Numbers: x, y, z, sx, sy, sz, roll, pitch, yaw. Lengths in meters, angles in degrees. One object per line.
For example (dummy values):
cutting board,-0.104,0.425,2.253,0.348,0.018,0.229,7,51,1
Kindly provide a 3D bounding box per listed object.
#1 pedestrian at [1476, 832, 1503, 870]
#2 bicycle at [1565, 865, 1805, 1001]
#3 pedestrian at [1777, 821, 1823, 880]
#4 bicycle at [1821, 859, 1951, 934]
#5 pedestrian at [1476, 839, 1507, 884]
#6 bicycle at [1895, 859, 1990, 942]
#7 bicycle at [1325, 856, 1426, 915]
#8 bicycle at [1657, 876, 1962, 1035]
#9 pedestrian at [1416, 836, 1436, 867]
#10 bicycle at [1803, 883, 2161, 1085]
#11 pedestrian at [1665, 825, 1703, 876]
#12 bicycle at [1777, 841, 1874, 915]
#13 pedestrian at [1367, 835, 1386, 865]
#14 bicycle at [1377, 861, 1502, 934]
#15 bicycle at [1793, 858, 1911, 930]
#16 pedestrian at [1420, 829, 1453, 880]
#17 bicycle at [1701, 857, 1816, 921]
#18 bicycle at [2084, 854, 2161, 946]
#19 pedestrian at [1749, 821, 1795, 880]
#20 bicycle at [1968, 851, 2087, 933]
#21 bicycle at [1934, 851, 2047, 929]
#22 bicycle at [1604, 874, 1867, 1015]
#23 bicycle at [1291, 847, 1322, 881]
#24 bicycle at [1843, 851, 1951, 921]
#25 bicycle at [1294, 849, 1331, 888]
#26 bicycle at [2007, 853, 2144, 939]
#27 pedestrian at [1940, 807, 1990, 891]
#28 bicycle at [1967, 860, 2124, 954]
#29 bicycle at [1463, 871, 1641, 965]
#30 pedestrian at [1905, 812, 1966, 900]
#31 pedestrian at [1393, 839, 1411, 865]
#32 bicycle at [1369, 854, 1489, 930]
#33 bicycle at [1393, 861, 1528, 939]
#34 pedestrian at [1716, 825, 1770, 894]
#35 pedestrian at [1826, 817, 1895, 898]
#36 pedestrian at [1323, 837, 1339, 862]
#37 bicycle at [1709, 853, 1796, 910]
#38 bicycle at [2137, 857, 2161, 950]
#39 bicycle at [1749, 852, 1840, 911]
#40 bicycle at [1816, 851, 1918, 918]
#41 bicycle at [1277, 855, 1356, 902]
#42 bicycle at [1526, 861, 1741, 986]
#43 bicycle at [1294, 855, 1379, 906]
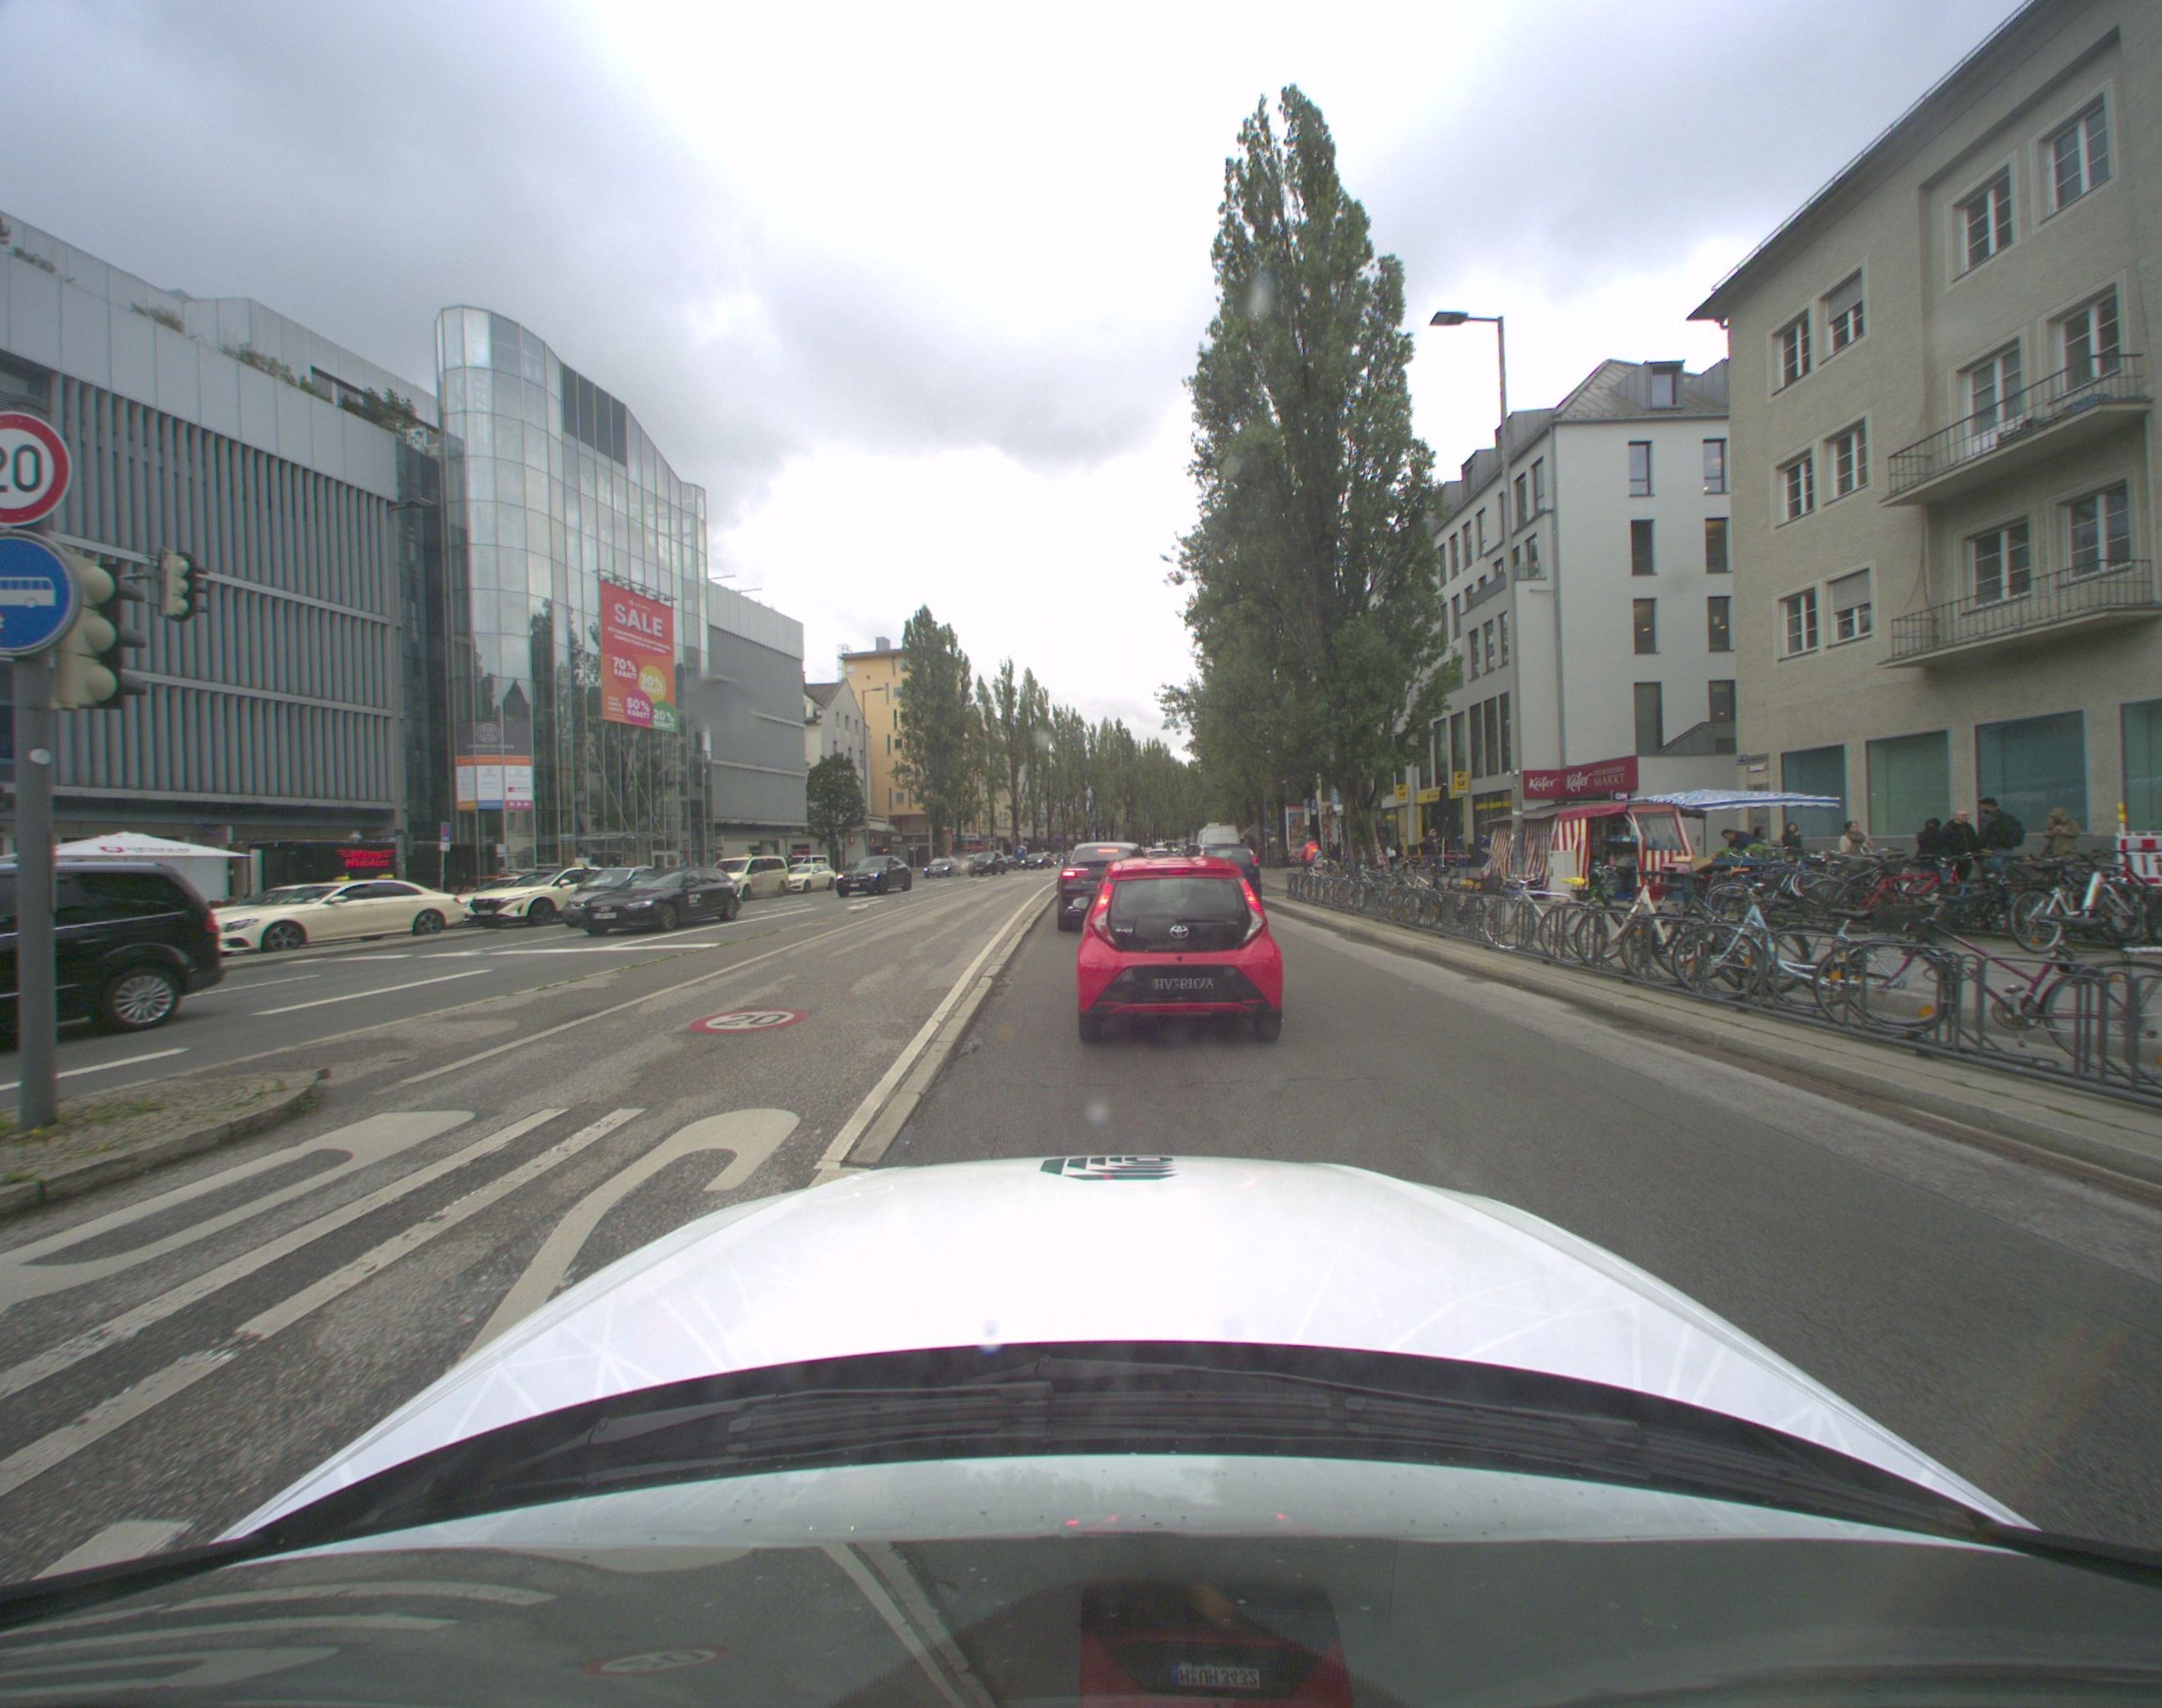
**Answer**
pedestrian,17.590,-0.140,35.090,0.730,1.602,0.742,-2,0,1
bicycle,5.867,0.714,7.992,1.815,1.168,0.590,-2,0,44
pedestrian,17.452,-0.084,19.780,0.572,1.402,0.580,-2,0,1
bicycle,10.937,0.570,11.089,1.253,0.963,0.370,-2,0,10
pedestrian,15.177,0.266,30.110,0.730,1.602,0.742,-2,0,1
bicycle,10.886,0.564,10.284,1.229,0.963,0.367,-2,0,-21
bicycle,5.989,0.639,16.611,1.814,1.136,0.590,-2,0,37
bicycle,5.865,0.751,6.671,1.782,1.111,0.590,-2,0,44
pedestrian,17.629,-0.137,41.591,0.710,1.558,0.676,-2,0,1
bicycle,5.863,0.758,5.244,1.782,1.111,0.566,-2,0,43
pedestrian,16.860,-0.098,22.776,0.596,1.402,0.580,-2,0,1
bicycle,12.250,0.389,13.412,1.240,1.140,0.369,-2,0,-1
pedestrian,15.652,-0.216,43.145,0.710,1.558,0.676,-2,0,1
bicycle,5.992,0.707,13.684,1.815,1.136,0.590,-2,0,44
bicycle,10.942,0.563,11.572,1.255,0.963,0.370,-2,0,4
pedestrian,12.458,0.004,28.543,0.788,1.727,0.764,-2,0,1
bicycle,10.854,0.563,13.063,1.424,0.963,0.370,-2,0,7
bicycle,12.194,0.505,9.274,1.243,0.981,0.368,-2,0,-8
pedestrian,16.813,-0.084,19.817,0.596,1.402,0.580,-2,0,1
bicycle,12.243,0.481,10.542,1.243,0.981,0.368,-2,0,-8
bicycle,12.327,0.479,11.042,1.243,0.981,0.368,-2,0,-8
bicycle,5.824,0.748,7.337,1.782,1.111,0.494,-2,0,44
bicycle,8.938,0.364,32.372,0.611,1.265,2.521,-2,0,2
bicycle,12.231,0.473,12.222,1.240,0.981,0.369,-2,0,-1
bicycle,8.072,0.489,28.452,0.611,1.265,2.521,-2,0,2
bicycle,12.106,0.503,9.925,1.240,0.981,0.369,-2,0,-2
pedestrian,16.009,-0.093,14.759,0.501,1.484,0.468,-2,0,36
bicycle,10.724,0.574,9.066,1.399,0.963,0.369,-2,0,-4
bicycle,5.849,0.759,10.191,1.815,1.052,0.590,-2,0,44
pedestrian,14.930,0.031,14.243,0.573,1.505,0.620,-2,0,32
pedestrian,16.402,-0.102,41.656,0.636,1.306,0.676,-2,0,1
bicycle,6.097,0.651,14.349,1.815,1.241,0.590,-2,0,44
bicycle,5.993,0.703,12.922,1.815,1.136,0.590,-2,0,44
pedestrian,14.264,0.111,17.556,0.612,1.425,0.660,-2,0,6
pedestrian,15.023,0.064,15.710,0.801,1.522,0.805,-2,0,34
pedestrian,15.885,-0.288,51.677,0.761,1.593,0.676,-2,0,1
bicycle,12.056,0.495,14.629,1.240,0.963,0.369,-2,0,-1
bicycle,12.096,0.507,8.707,1.242,0.981,0.368,-2,0,-6
bicycle,12.349,0.474,14.113,1.240,0.963,0.369,-2,0,-1
bicycle,12.336,0.471,12.797,1.240,0.981,0.369,-2,0,-1
bicycle,6.001,0.620,20.809,1.814,1.136,0.590,-2,0,37
bicycle,5.902,0.693,8.782,1.815,1.197,0.590,-2,0,44
bicycle,6.054,0.627,19.341,1.814,1.136,0.590,-2,0,37
